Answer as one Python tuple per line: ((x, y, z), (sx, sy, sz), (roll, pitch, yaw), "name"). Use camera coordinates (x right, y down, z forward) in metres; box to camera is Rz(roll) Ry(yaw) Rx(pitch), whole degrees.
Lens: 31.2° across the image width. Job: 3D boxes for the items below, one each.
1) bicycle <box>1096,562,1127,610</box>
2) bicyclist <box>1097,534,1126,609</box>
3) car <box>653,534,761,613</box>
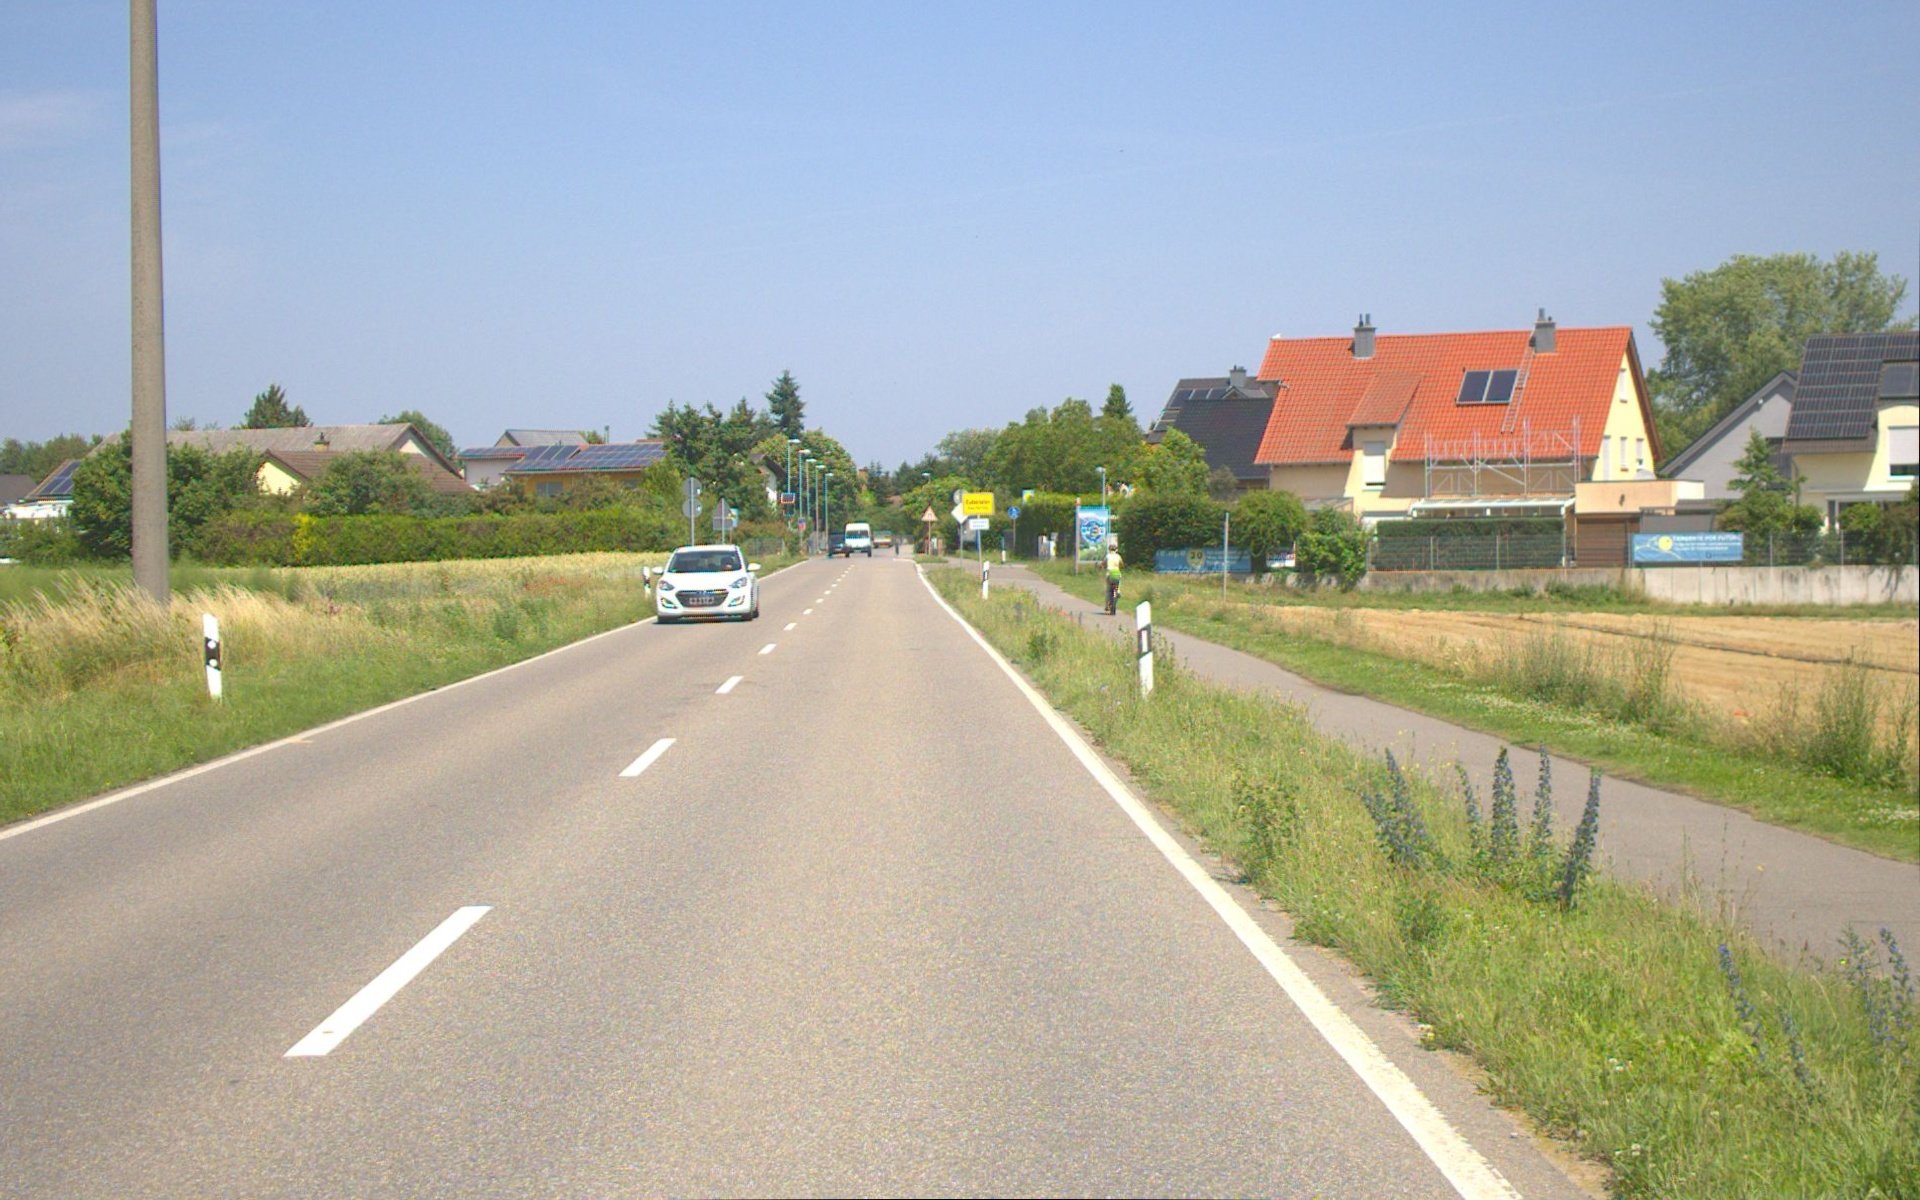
((3.854, -0.362, 87.552), (0.610, 1.154, 2.274), (1, 2, -2), "bicycle")
((3.854, -0.735, 87.527), (0.645, 1.883, 0.861), (1, 2, -2), "bicyclist")
((-4.768, -0.532, 65.323), (1.791, 1.404, 4.186), (-2, 1, -1), "car")
